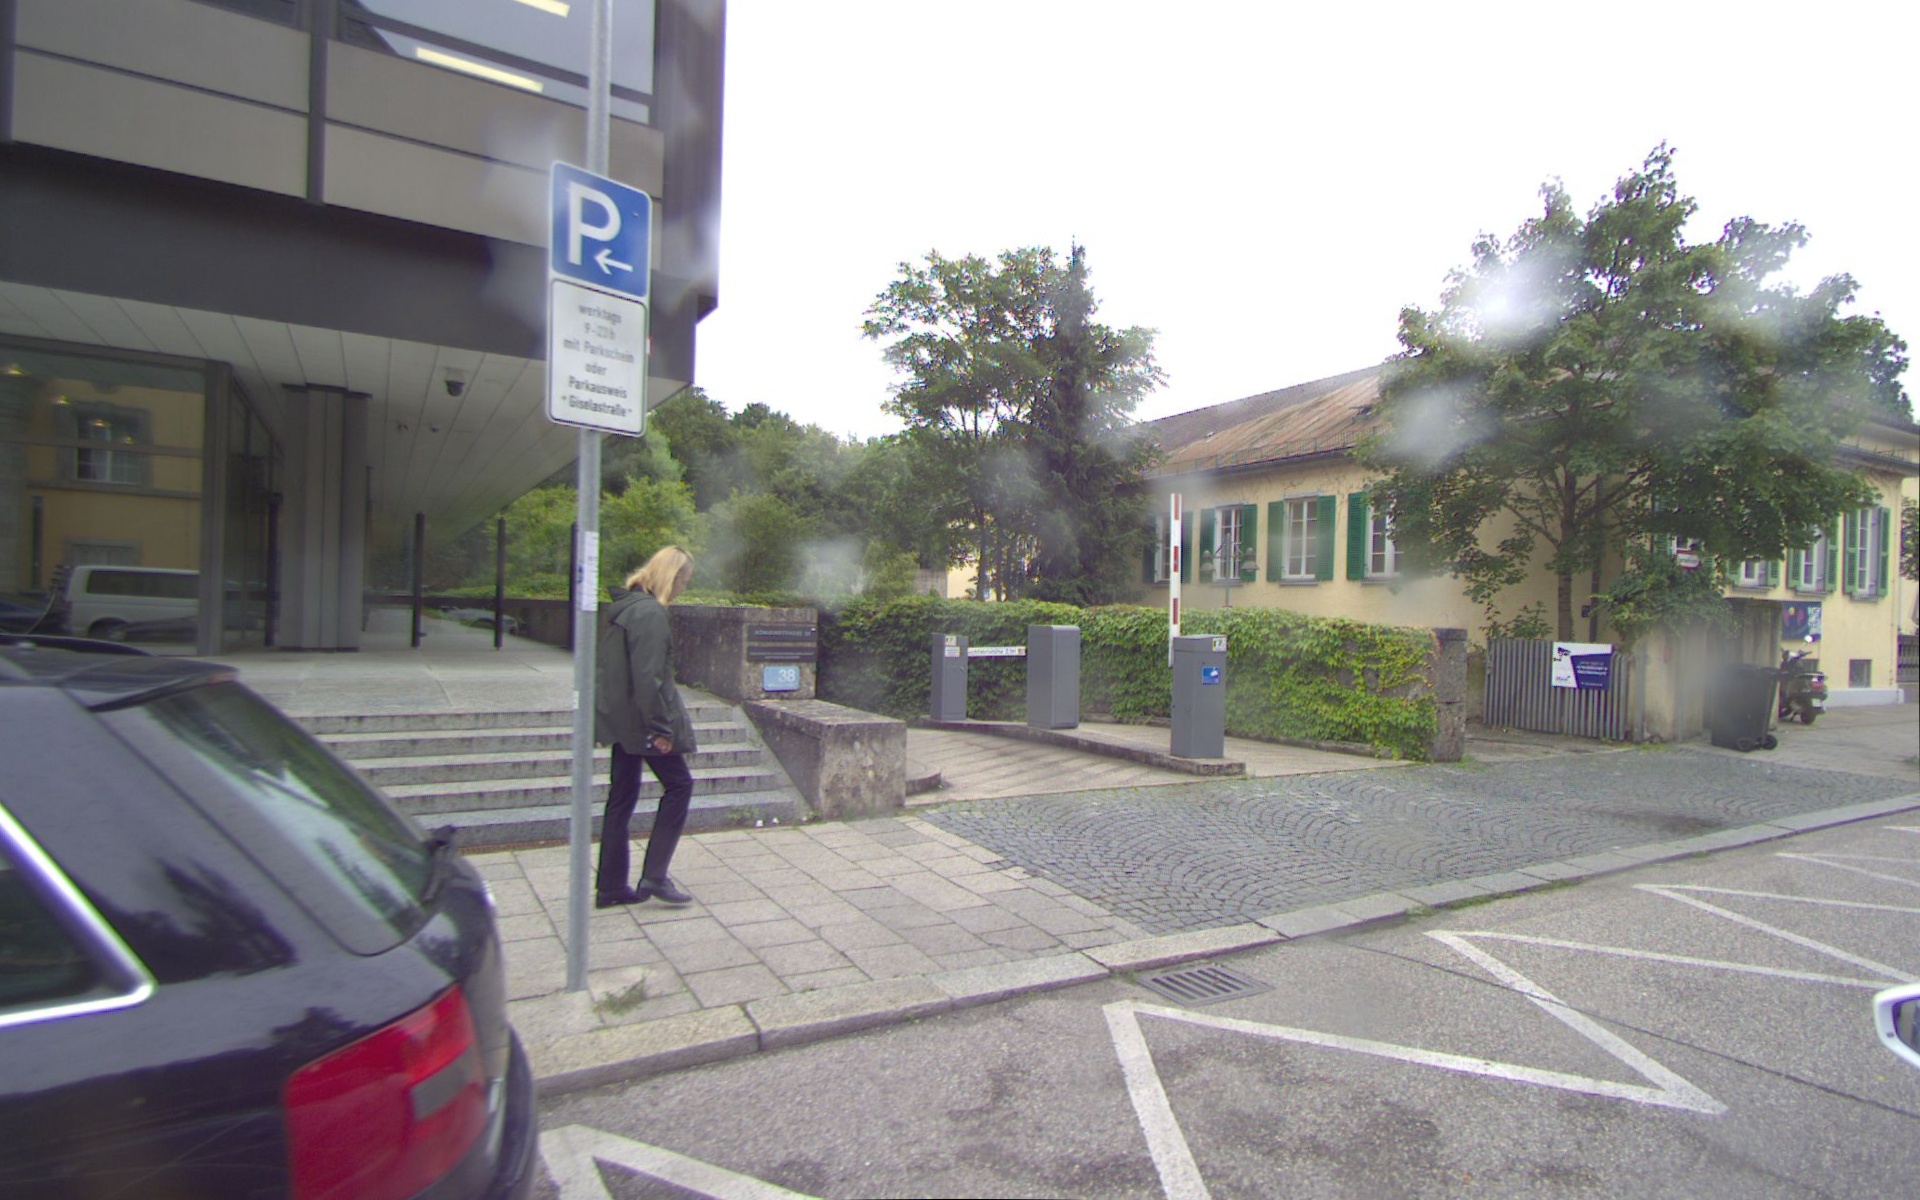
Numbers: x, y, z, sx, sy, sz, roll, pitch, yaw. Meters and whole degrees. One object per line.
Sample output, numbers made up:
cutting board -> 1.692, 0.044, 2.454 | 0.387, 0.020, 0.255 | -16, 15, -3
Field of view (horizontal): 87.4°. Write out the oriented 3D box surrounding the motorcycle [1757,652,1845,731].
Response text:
motorcycle -> 13.818, 1.478, 16.559 | 0.548, 1.116, 1.837 | 3, 1, 23

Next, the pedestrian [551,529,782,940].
pedestrian -> -1.440, 0.592, 4.871 | 0.940, 1.772, 0.751 | 2, 0, -24

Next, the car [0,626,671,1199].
car -> -2.961, 0.760, 0.967 | 4.825, 1.510, 1.984 | 2, -2, -30

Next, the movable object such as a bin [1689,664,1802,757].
movable object such as a bin -> 10.196, 1.411, 13.044 | 0.831, 1.078, 0.929 | 1, 0, -33
